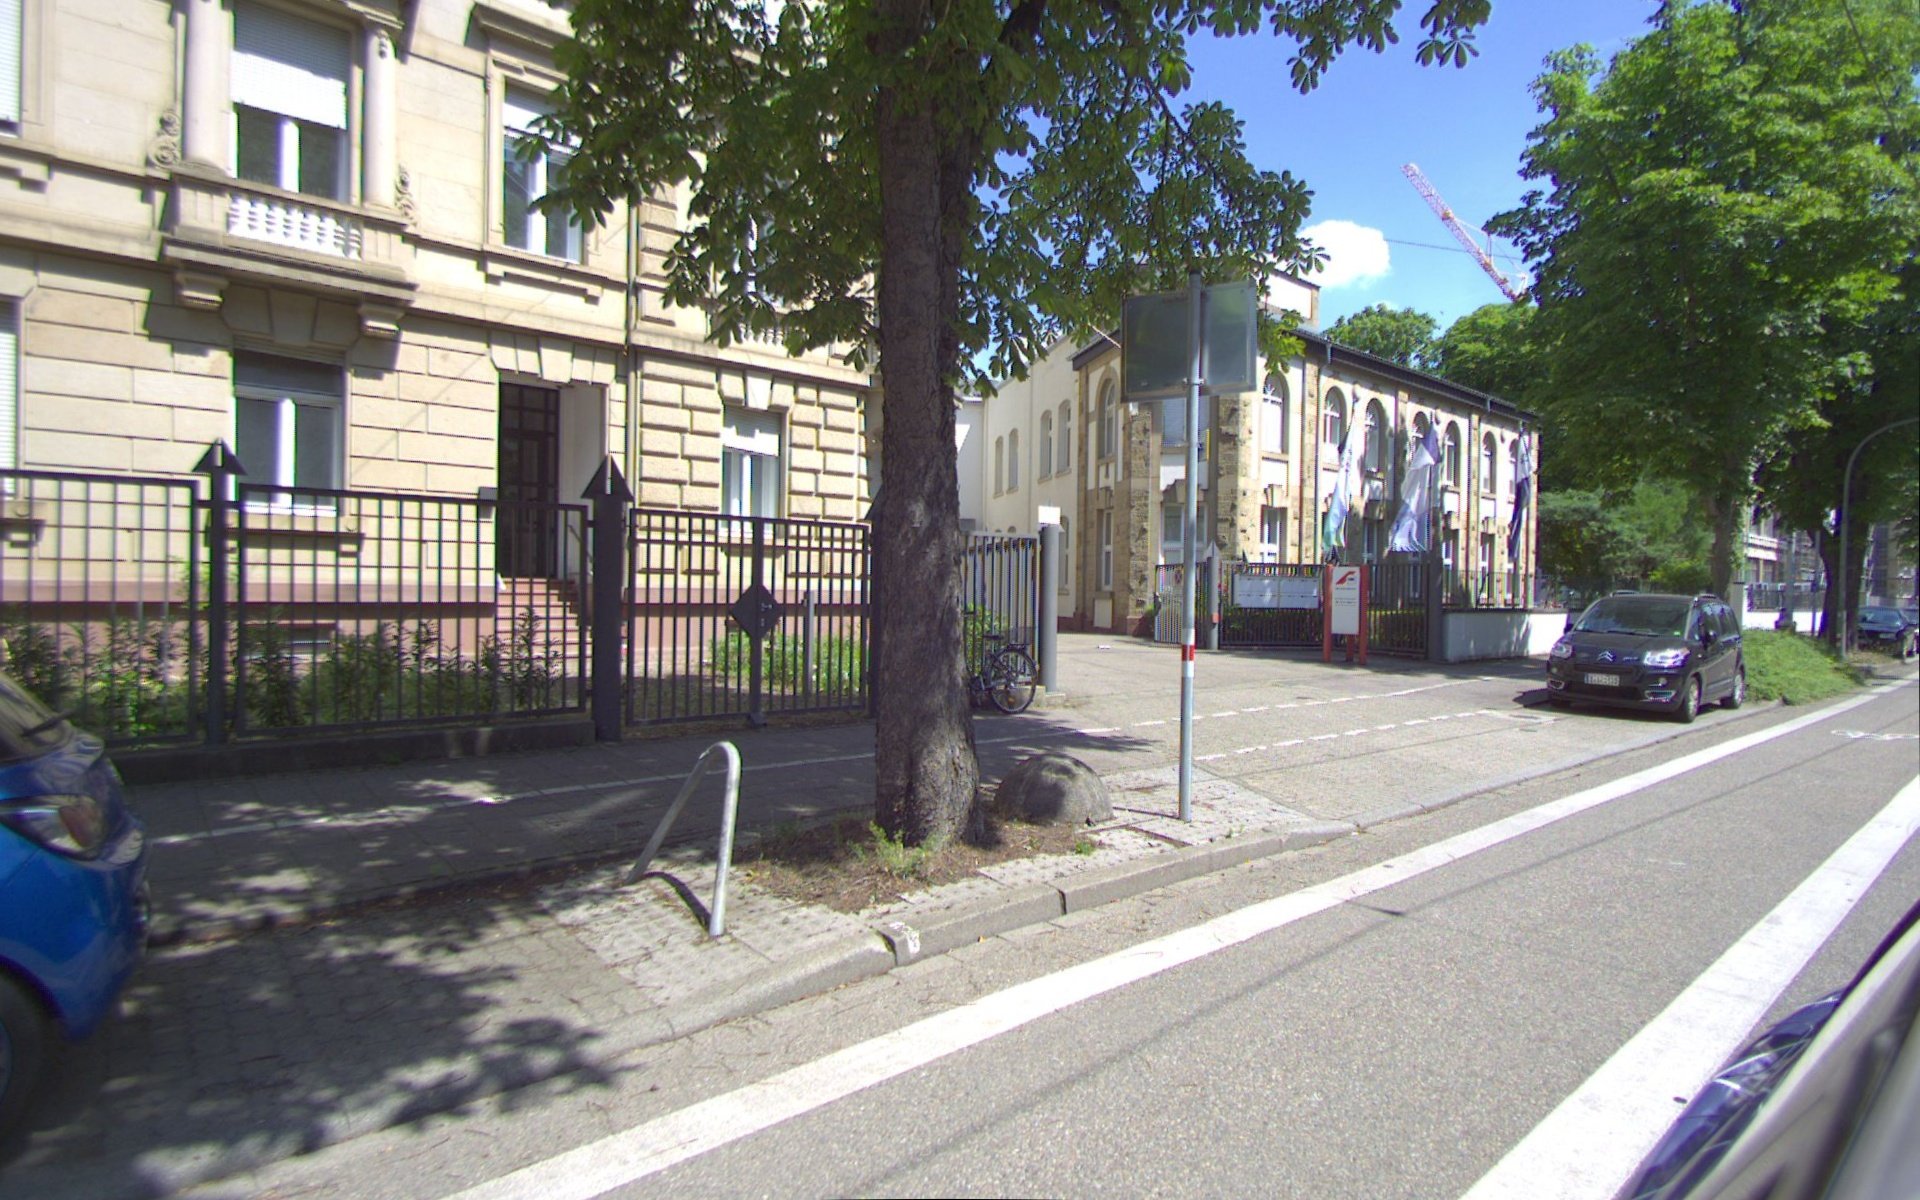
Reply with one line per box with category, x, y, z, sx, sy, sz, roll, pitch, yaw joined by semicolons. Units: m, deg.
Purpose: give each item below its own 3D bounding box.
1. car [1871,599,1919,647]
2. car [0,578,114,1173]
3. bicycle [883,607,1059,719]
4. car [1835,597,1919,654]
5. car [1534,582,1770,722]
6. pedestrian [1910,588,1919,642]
car;30.963;0.736;32.783;3.930;1.420;1.625;0;3;-41
car;-4.058;0.676;2.160;3.414;1.471;1.694;0;1;-42
bicycle;0.154;0.634;10.877;1.944;1.084;0.609;0;1;-39
car;26.053;0.668;28.456;3.756;1.420;1.625;0;3;-41
car;9.911;0.626;14.388;4.012;1.636;1.734;0;3;-41
pedestrian;33.469;0.514;34.954;0.724;1.873;0.648;1;0;-14
